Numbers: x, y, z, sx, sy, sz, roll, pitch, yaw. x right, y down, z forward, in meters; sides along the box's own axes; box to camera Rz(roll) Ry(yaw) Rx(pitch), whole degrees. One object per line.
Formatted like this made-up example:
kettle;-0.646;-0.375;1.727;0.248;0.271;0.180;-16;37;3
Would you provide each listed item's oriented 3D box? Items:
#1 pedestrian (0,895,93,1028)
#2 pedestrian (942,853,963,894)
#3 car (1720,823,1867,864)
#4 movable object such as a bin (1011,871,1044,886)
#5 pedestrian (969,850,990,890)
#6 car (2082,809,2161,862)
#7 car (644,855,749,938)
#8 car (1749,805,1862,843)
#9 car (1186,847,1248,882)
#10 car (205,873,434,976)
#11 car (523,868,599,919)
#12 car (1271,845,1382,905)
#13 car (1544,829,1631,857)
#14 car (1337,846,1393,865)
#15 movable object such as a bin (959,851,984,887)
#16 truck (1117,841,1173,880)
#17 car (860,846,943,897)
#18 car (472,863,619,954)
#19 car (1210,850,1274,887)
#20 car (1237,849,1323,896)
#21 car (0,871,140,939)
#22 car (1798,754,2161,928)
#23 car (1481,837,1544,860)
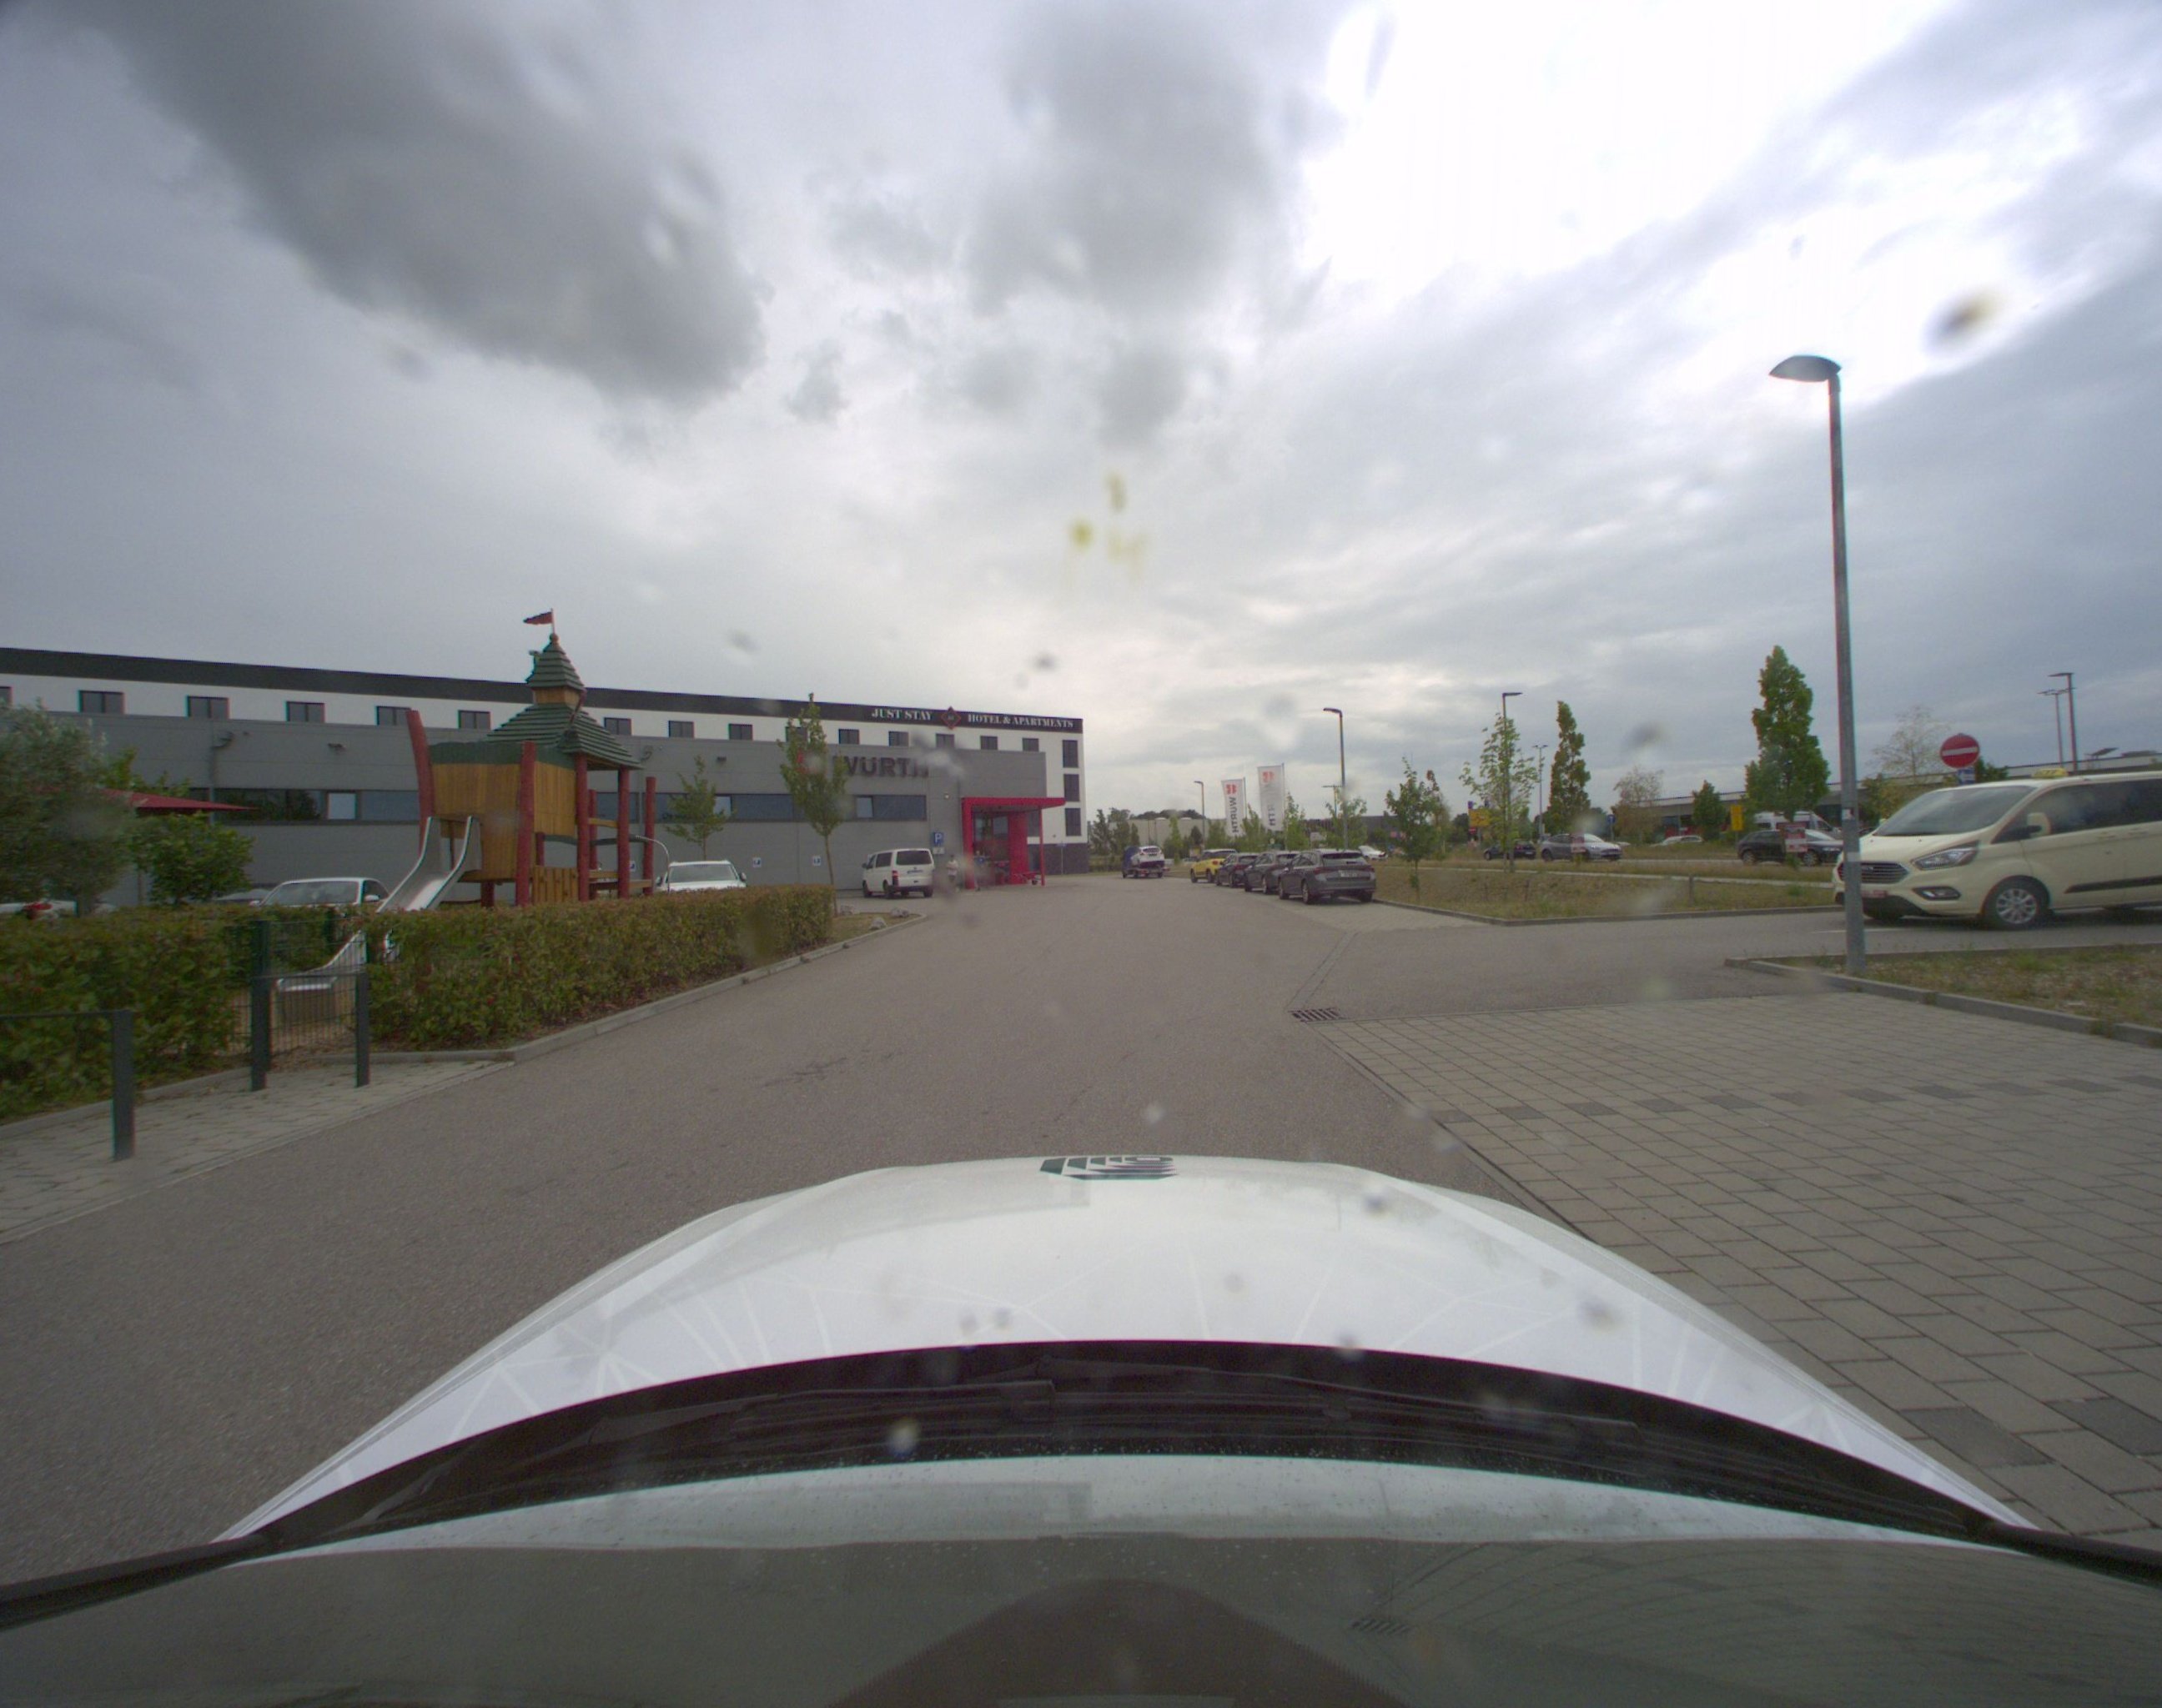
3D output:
pedestrian;-14.665;1.484;11.409;0.743;1.748;0.698;-3;-1;-23
pedestrian;-5.716;0.856;36.167;0.620;1.751;0.907;-2;0;8
car;27.056;-0.355;31.130;1.759;1.395;4.214;-2;0;-3
movable object such as a bin;-2.812;1.271;42.577;1.494;0.704;0.958;-1;-1;-23
pedestrian;-4.612;0.718;36.947;0.673;1.802;0.882;-2;-1;7
car;31.467;-0.560;22.950;1.650;1.459;3.920;-4;0;0
car;-9.306;0.981;19.852;2.003;1.650;4.540;-4;0;-25
car;49.853;-2.046;56.106;5.559;2.122;2.341;-4;0;1
car;6.859;0.543;41.490;1.857;1.650;3.985;-1;-1;-11
car;-15.243;1.307;16.681;2.003;1.650;4.540;-4;0;-25
car;-18.190;1.350;28.639;1.746;1.552;4.226;-3;0;-27
car;6.776;0.550;23.021;1.746;1.469;4.475;-2;0;0
car;27.678;-0.569;44.708;1.759;1.395;4.553;-2;0;-3
car;23.022;0.124;66.196;1.770;1.395;4.524;-2;0;-22
movable object such as a bin;-5.234;0.721;38.891;0.915;1.672;0.736;-3;0;-29
truck;4.451;0.565;57.974;2.330;2.407;7.873;-1;-3;-8
car;-7.481;0.749;33.609;2.069;1.855;4.021;-4;0;-31
car;-11.806;1.137;18.301;2.003;1.650;4.540;-4;0;-25
car;6.859;0.594;35.107;1.747;1.469;4.103;-2;0;-3
car;6.899;0.607;28.690;1.747;1.469;4.471;-2;0;-3
car;-28.374;1.394;22.265;2.007;1.638;4.757;-3;0;-31
car;13.500;-0.219;11.308;5.193;2.086;2.001;-3;0;2
car;30.524;-0.352;57.700;1.919;1.486;4.417;-4;0;-2
